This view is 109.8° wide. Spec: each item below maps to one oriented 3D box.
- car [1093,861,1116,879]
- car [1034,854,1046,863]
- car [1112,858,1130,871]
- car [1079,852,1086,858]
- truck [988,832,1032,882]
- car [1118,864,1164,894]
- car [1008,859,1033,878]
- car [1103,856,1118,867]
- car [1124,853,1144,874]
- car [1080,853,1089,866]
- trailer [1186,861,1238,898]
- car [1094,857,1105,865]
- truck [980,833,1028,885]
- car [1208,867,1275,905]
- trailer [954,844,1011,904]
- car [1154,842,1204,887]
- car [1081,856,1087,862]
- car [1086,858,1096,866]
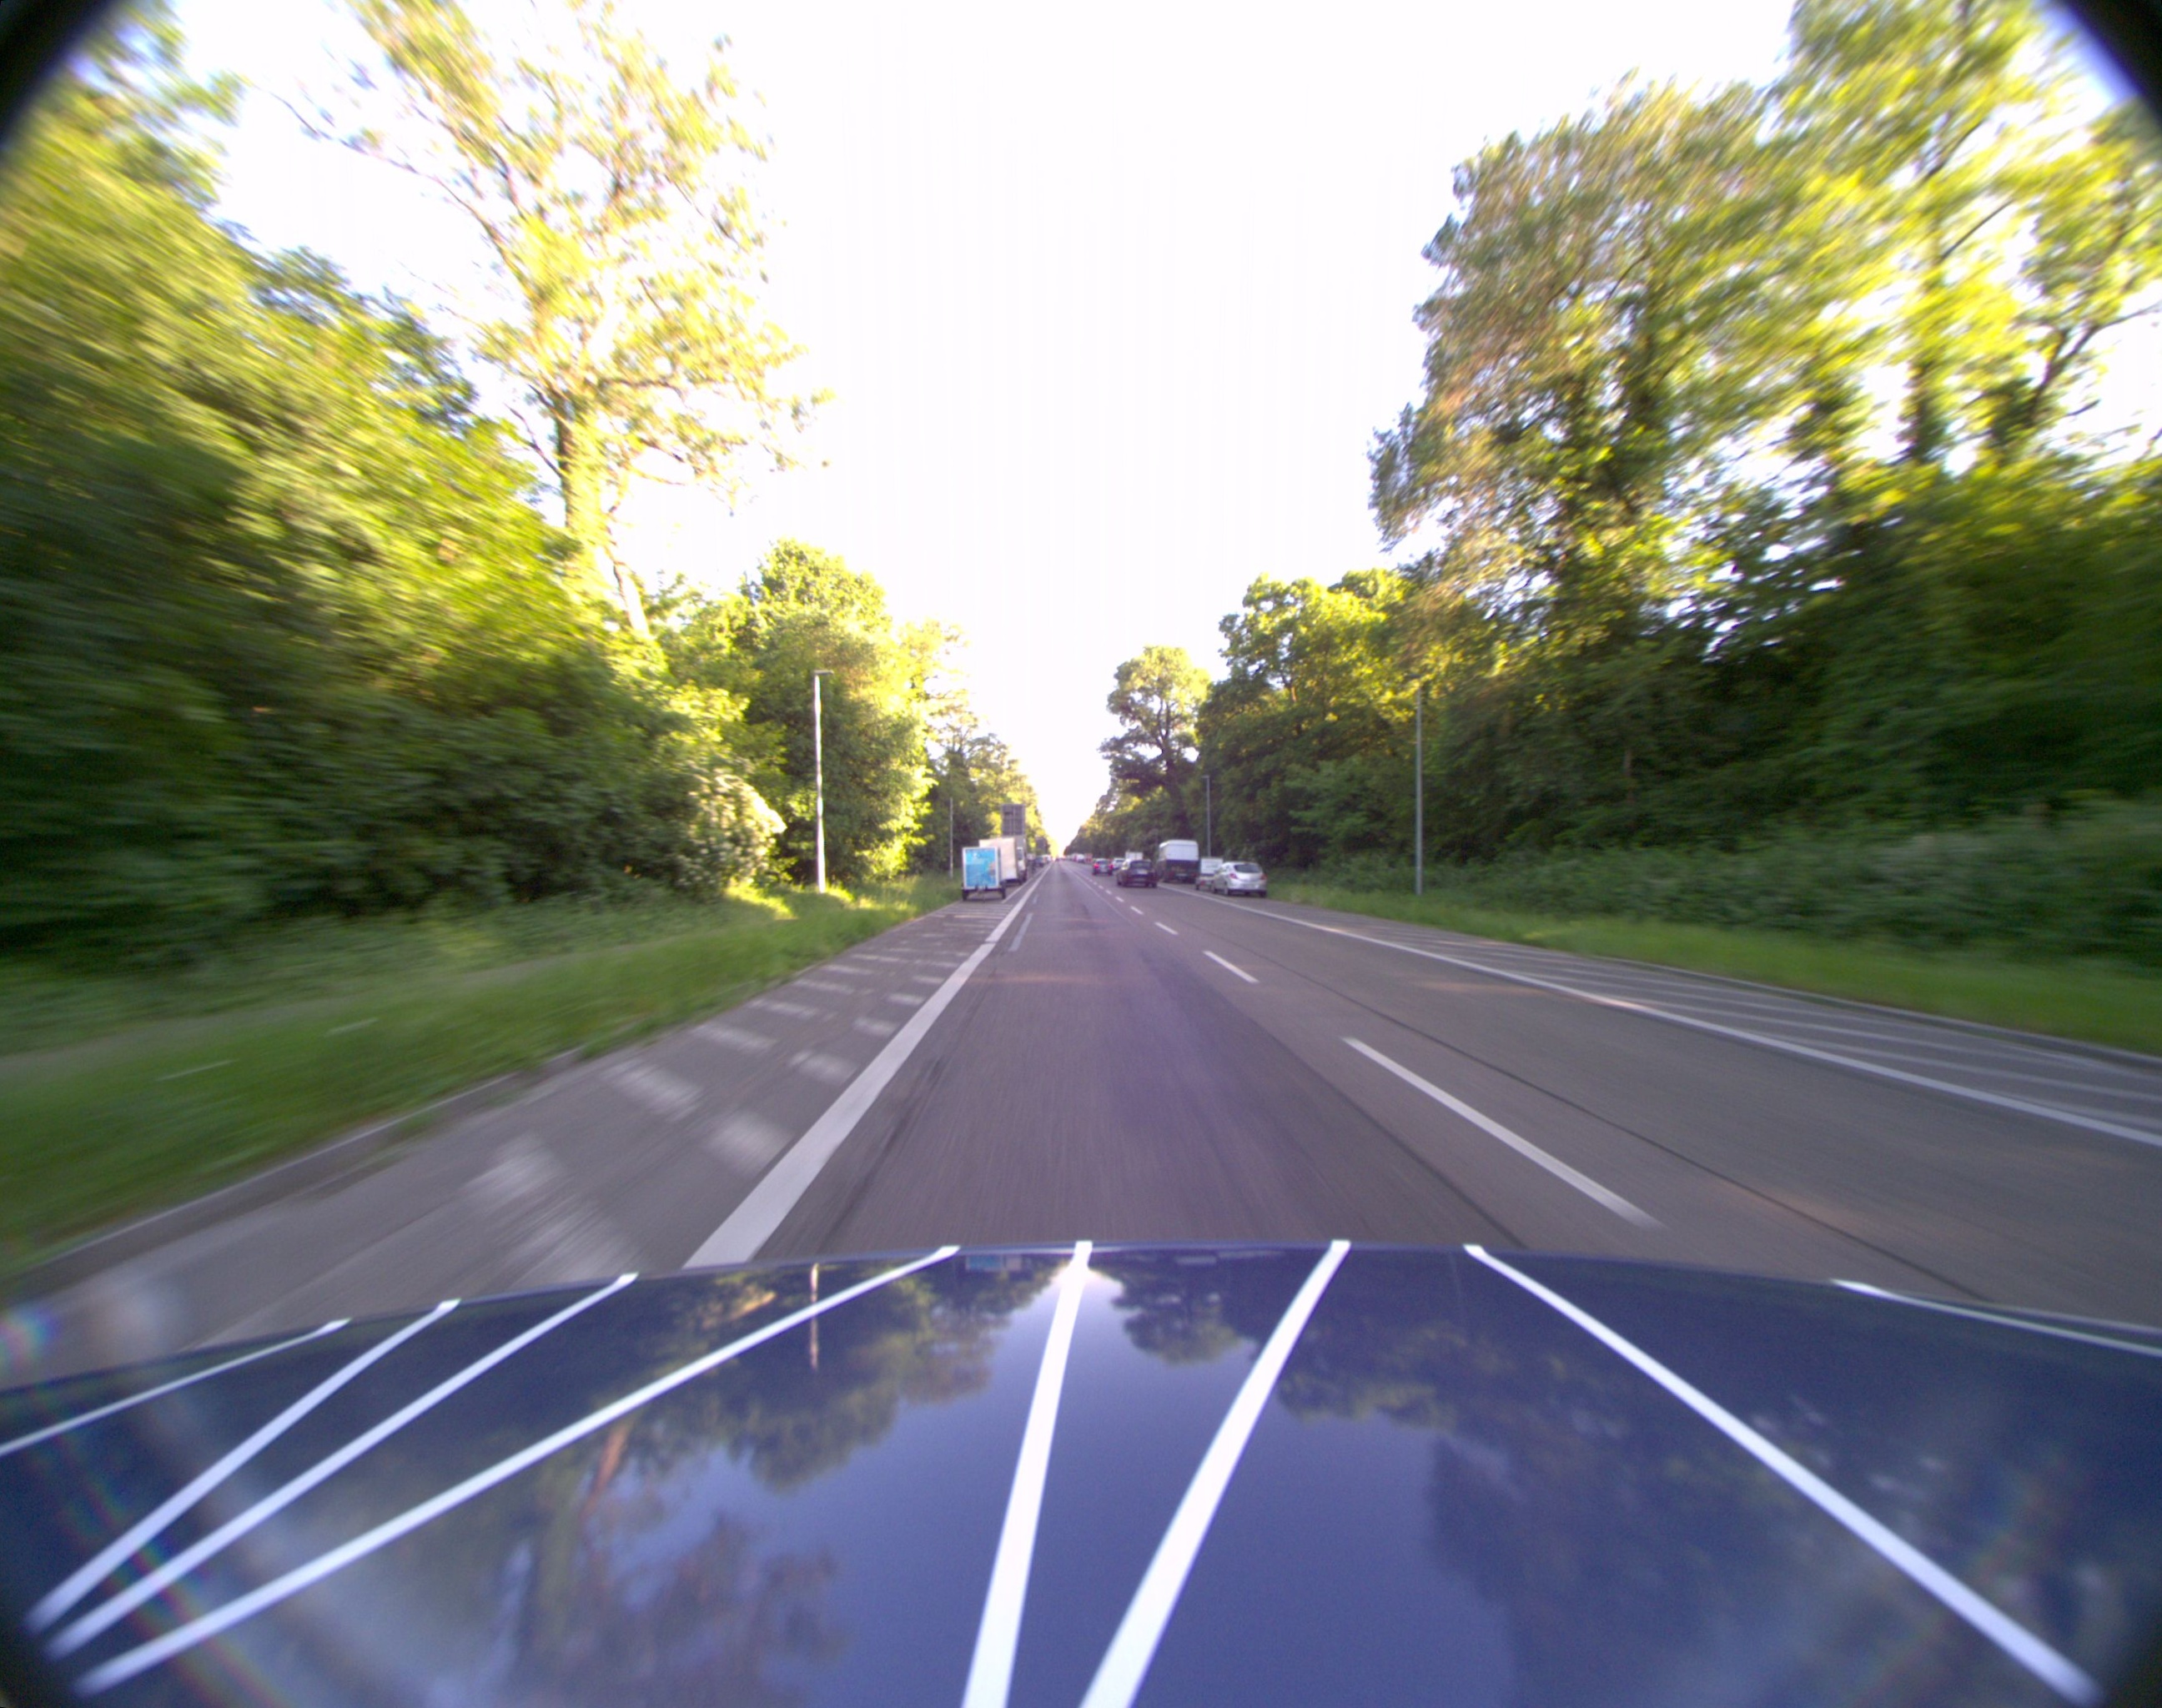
[{"bbox_3d":[2.058,1.425,67.911,1.806,1.455,3.911,1,0,-2],"label":"car"},{"bbox_3d":[-6.795,0.759,126.916,1.898,1.455,3.911,1,0,-2],"label":"car"},{"bbox_3d":[4.976,1.300,94.505,1.806,1.496,3.911,1,0,-2],"label":"car"},{"bbox_3d":[0.560,0.361,237.089,2.095,1.924,4.000,-1,0,0],"label":"car"},{"bbox_3d":[-4.929,0.192,53.610,2.706,3.218,7.126,1,0,-2],"label":"truck"},{"bbox_3d":[3.173,1.306,40.996,1.915,1.455,4.356,1,0,-2],"label":"car"},{"bbox_3d":[-4.813,1.127,60.524,1.806,1.455,3.911,1,0,-2],"label":"car"},{"bbox_3d":[4.303,1.072,110.520,1.806,1.496,3.911,1,0,-2],"label":"car"},{"bbox_3d":[5.691,1.001,82.092,1.692,2.089,4.631,1,0,-2],"label":"car"},{"bbox_3d":[1.069,1.533,216.581,2.280,3.481,5.499,-2,0,1],"label":"car"},{"bbox_3d":[6.517,1.239,38.085,1.806,1.719,3.646,1,0,-3],"label":"trailer"},{"bbox_3d":[3.663,1.321,149.192,1.806,1.496,3.911,1,0,-2],"label":"car"},{"bbox_3d":[-4.538,0.276,45.818,2.390,2.855,5.597,-3,0,-2],"label":"truck"},{"bbox_3d":[6.900,1.344,33.053,1.915,1.455,4.011,1,0,-2],"label":"car"},{"bbox_3d":[-3.879,0.734,30.532,1.870,2.165,4.128,-2,0,-2],"label":"trailer"},{"bbox_3d":[6.440,0.666,50.305,2.460,2.830,4.797,1,0,-3],"label":"car"},{"bbox_3d":[0.879,1.510,227.790,1.806,1.496,3.911,1,0,-2],"label":"car"},{"bbox_3d":[2.469,2.020,188.491,1.999,2.001,3.999,-2,0,-4],"label":"car"}]
